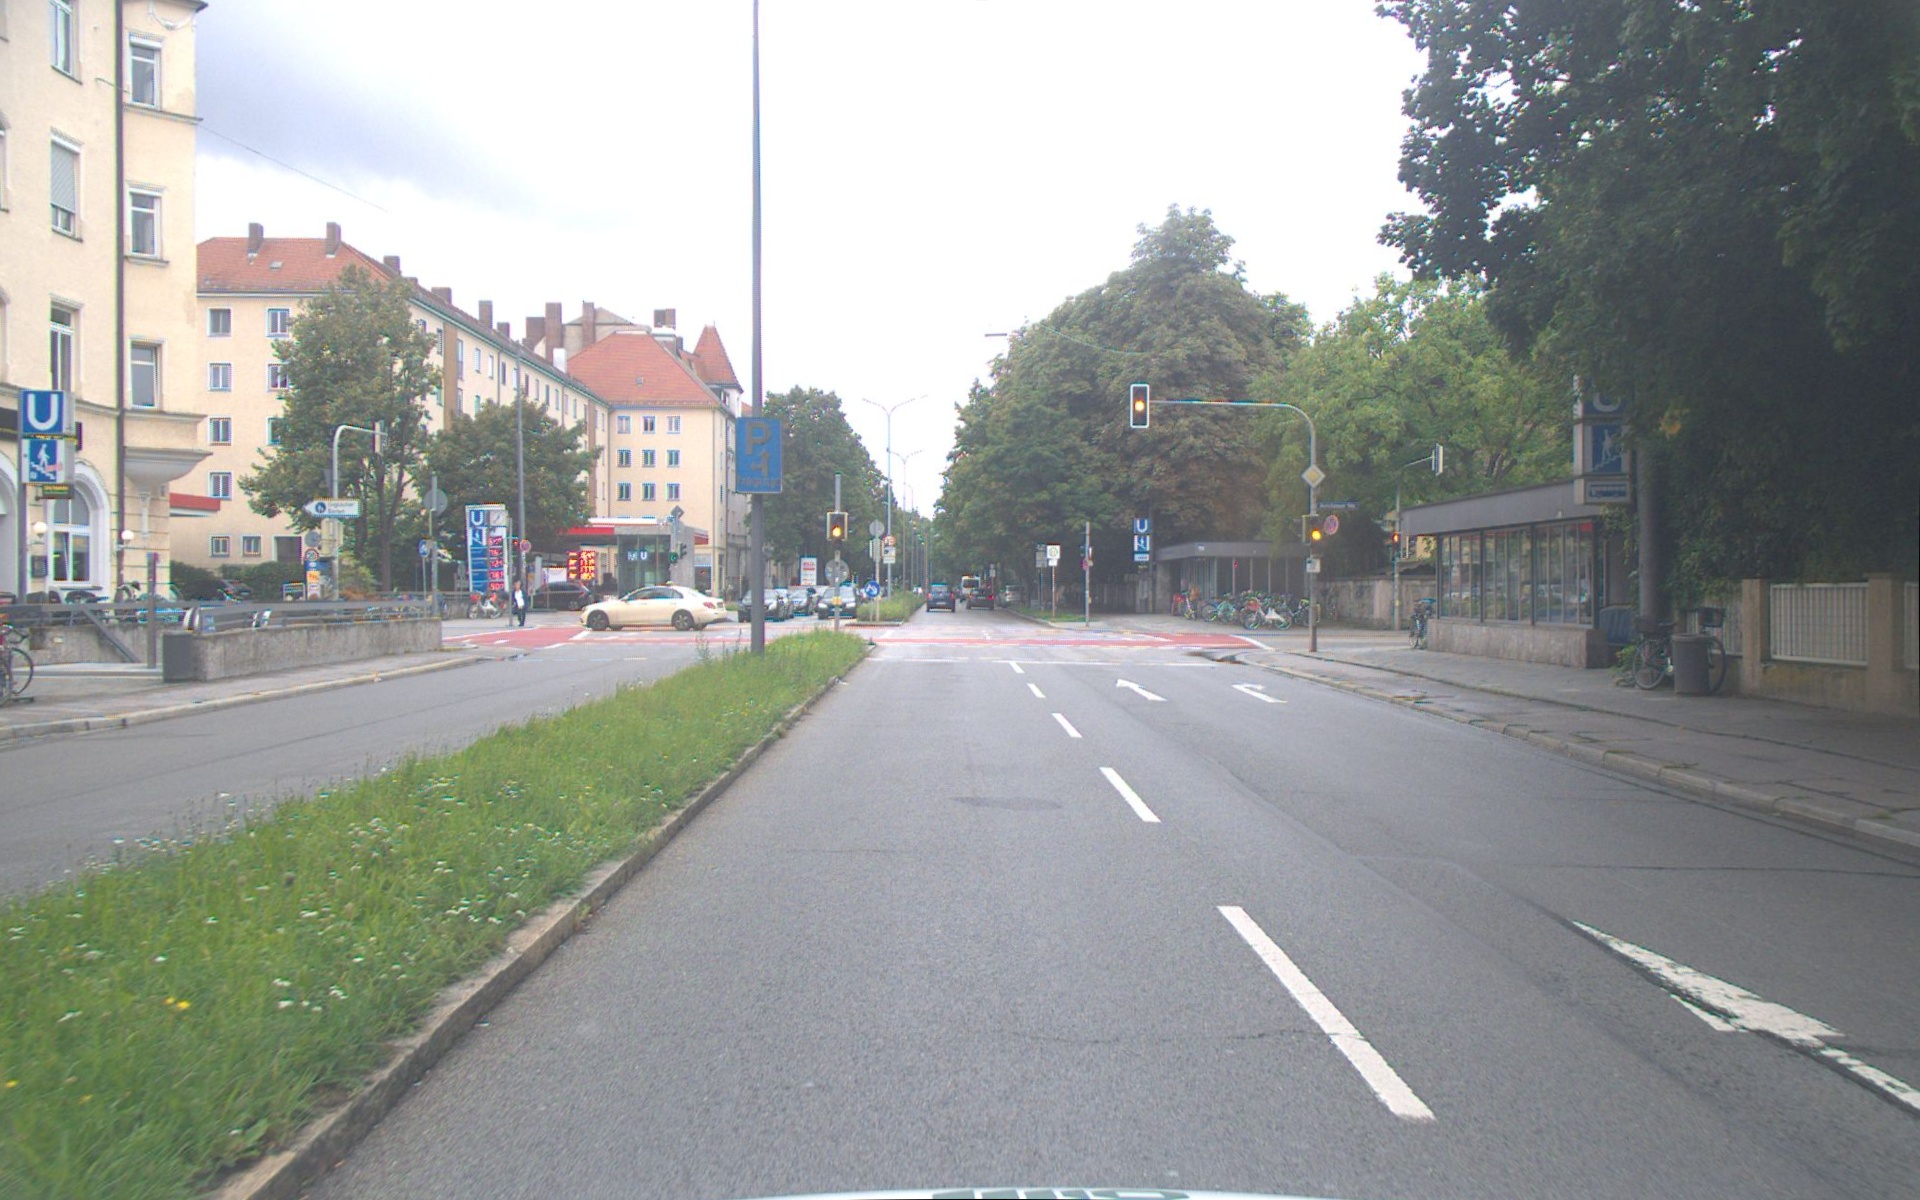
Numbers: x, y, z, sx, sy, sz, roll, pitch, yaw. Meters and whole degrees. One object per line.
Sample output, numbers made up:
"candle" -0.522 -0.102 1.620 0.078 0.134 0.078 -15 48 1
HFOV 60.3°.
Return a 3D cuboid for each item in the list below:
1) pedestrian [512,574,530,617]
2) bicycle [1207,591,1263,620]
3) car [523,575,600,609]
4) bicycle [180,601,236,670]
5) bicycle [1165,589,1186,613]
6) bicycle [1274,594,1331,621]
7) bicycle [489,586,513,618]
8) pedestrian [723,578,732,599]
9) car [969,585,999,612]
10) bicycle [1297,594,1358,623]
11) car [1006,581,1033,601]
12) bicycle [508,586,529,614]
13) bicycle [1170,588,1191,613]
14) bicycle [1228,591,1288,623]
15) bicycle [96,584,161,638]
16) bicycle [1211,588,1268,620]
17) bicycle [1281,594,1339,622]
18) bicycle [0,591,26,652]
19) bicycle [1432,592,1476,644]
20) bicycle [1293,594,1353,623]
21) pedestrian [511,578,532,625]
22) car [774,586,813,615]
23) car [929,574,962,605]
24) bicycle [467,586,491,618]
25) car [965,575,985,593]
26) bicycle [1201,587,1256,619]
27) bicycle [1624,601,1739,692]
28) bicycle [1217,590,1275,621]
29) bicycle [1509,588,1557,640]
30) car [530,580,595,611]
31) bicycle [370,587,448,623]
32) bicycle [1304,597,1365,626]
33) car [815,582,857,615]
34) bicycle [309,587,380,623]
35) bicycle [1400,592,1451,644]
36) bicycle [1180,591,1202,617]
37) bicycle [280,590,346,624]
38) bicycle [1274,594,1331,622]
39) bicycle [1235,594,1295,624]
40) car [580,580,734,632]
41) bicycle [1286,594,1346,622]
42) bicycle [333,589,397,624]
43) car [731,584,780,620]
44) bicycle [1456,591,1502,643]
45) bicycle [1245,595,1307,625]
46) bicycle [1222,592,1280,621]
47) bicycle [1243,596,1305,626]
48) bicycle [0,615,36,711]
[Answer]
"pedestrian" -17.801 -0.189 67.083 0.583 1.725 0.571 0 0 -31
"bicycle" 10.444 0.203 62.837 2.097 1.080 0.603 0 0 8
"car" -22.288 -0.443 92.570 3.908 1.870 1.879 0 0 -3
"bicycle" -12.894 0.592 28.395 0.388 1.135 1.810 0 1 -9
"bicycle" 9.505 0.022 72.985 0.545 1.032 2.014 0 1 -2
"bicycle" 13.141 0.295 63.551 2.097 1.032 0.634 0 0 8
"bicycle" -18.593 0.076 66.995 0.596 1.257 2.184 0 1 -7
"pedestrian" -18.685 -0.938 132.981 0.682 1.666 0.738 0 0 -1
"car" 1.552 -0.121 109.470 1.883 1.713 4.000 2 0 0
"bicycle" 13.251 0.306 59.624 2.097 1.032 0.634 0 0 8
"car" 4.321 -0.670 120.482 1.707 1.387 3.806 0 1 -1
"bicycle" -18.972 -0.011 71.137 0.596 1.165 1.963 0 1 -7
"bicycle" 9.297 0.030 69.672 0.545 1.032 2.014 0 1 -2
"bicycle" 10.798 0.254 59.957 2.097 1.120 0.603 0 0 8
"bicycle" -15.762 0.197 31.380 0.463 0.998 1.545 0 1 0
"bicycle" 10.481 0.147 62.135 2.097 1.199 0.603 0 0 8
"bicycle" 13.100 0.295 61.969 2.097 1.032 0.634 0 0 8
"bicycle" -16.117 0.363 27.345 0.463 0.998 1.545 0 1 0
"bicycle" 11.028 0.396 36.985 0.459 1.141 1.735 0 0 0
"bicycle" 13.249 0.306 60.392 2.097 1.032 0.634 0 0 8
"pedestrian" -15.912 0.047 60.011 0.522 1.725 0.577 0 0 8
"car" -8.866 -0.001 88.233 1.724 1.486 3.999 0 1 -1
"car" -0.848 -0.626 94.575 1.819 1.713 3.999 0 1 -1
"bicycle" -19.230 0.083 66.160 0.596 1.257 2.184 0 1 -7
"car" 1.475 -1.570 163.544 1.953 1.787 3.999 0 1 -1
"bicycle" 10.457 0.127 64.437 2.097 1.240 0.603 0 0 8
"bicycle" 9.474 0.583 21.804 0.609 1.109 2.026 0 1 -1
"bicycle" 10.617 0.201 61.399 2.097 1.105 0.603 0 0 8
"bicycle" 12.815 0.315 37.009 0.459 1.141 1.735 0 0 0
"car" -26.401 -0.321 109.926 3.909 2.049 1.889 0 0 -5
"bicycle" -20.788 0.184 62.394 2.676 1.273 0.785 2 0 -32
"bicycle" 13.309 0.412 58.828 2.097 1.032 0.634 0 0 8
"car" -5.775 -0.083 77.590 1.724 1.519 3.999 0 1 -1
"bicycle" -23.027 0.186 61.925 2.351 1.273 0.790 2 0 -12
"bicycle" 10.386 0.400 36.960 0.587 1.141 1.889 0 0 0
"bicycle" 9.337 0.149 66.942 0.545 1.032 2.014 0 1 -2
"bicycle" -23.932 0.250 61.189 2.140 1.257 0.764 0 0 -10
"bicycle" 12.991 0.291 62.760 2.097 1.032 0.634 0 0 8
"bicycle" 10.939 0.320 59.304 2.097 1.089 0.603 0 0 8
"car" -9.998 0.173 54.691 4.663 1.675 1.786 0 0 9
"bicycle" 13.161 0.299 61.185 2.097 1.032 0.634 0 0 8
"bicycle" -22.033 0.233 61.299 2.142 1.257 0.763 0 0 -12
"car" -8.905 0.060 72.240 1.724 1.486 3.999 0 1 -1
"bicycle" 11.596 0.381 36.996 0.459 1.141 1.735 0 0 0
"bicycle" 11.165 0.351 58.501 2.097 1.032 0.634 0 0 8
"bicycle" 10.664 0.243 60.670 2.097 1.032 0.603 0 0 8
"bicycle" 10.976 0.368 57.875 2.097 1.032 0.603 0 0 8
"bicycle" -11.994 0.773 20.965 0.325 1.135 1.669 0 1 -24
